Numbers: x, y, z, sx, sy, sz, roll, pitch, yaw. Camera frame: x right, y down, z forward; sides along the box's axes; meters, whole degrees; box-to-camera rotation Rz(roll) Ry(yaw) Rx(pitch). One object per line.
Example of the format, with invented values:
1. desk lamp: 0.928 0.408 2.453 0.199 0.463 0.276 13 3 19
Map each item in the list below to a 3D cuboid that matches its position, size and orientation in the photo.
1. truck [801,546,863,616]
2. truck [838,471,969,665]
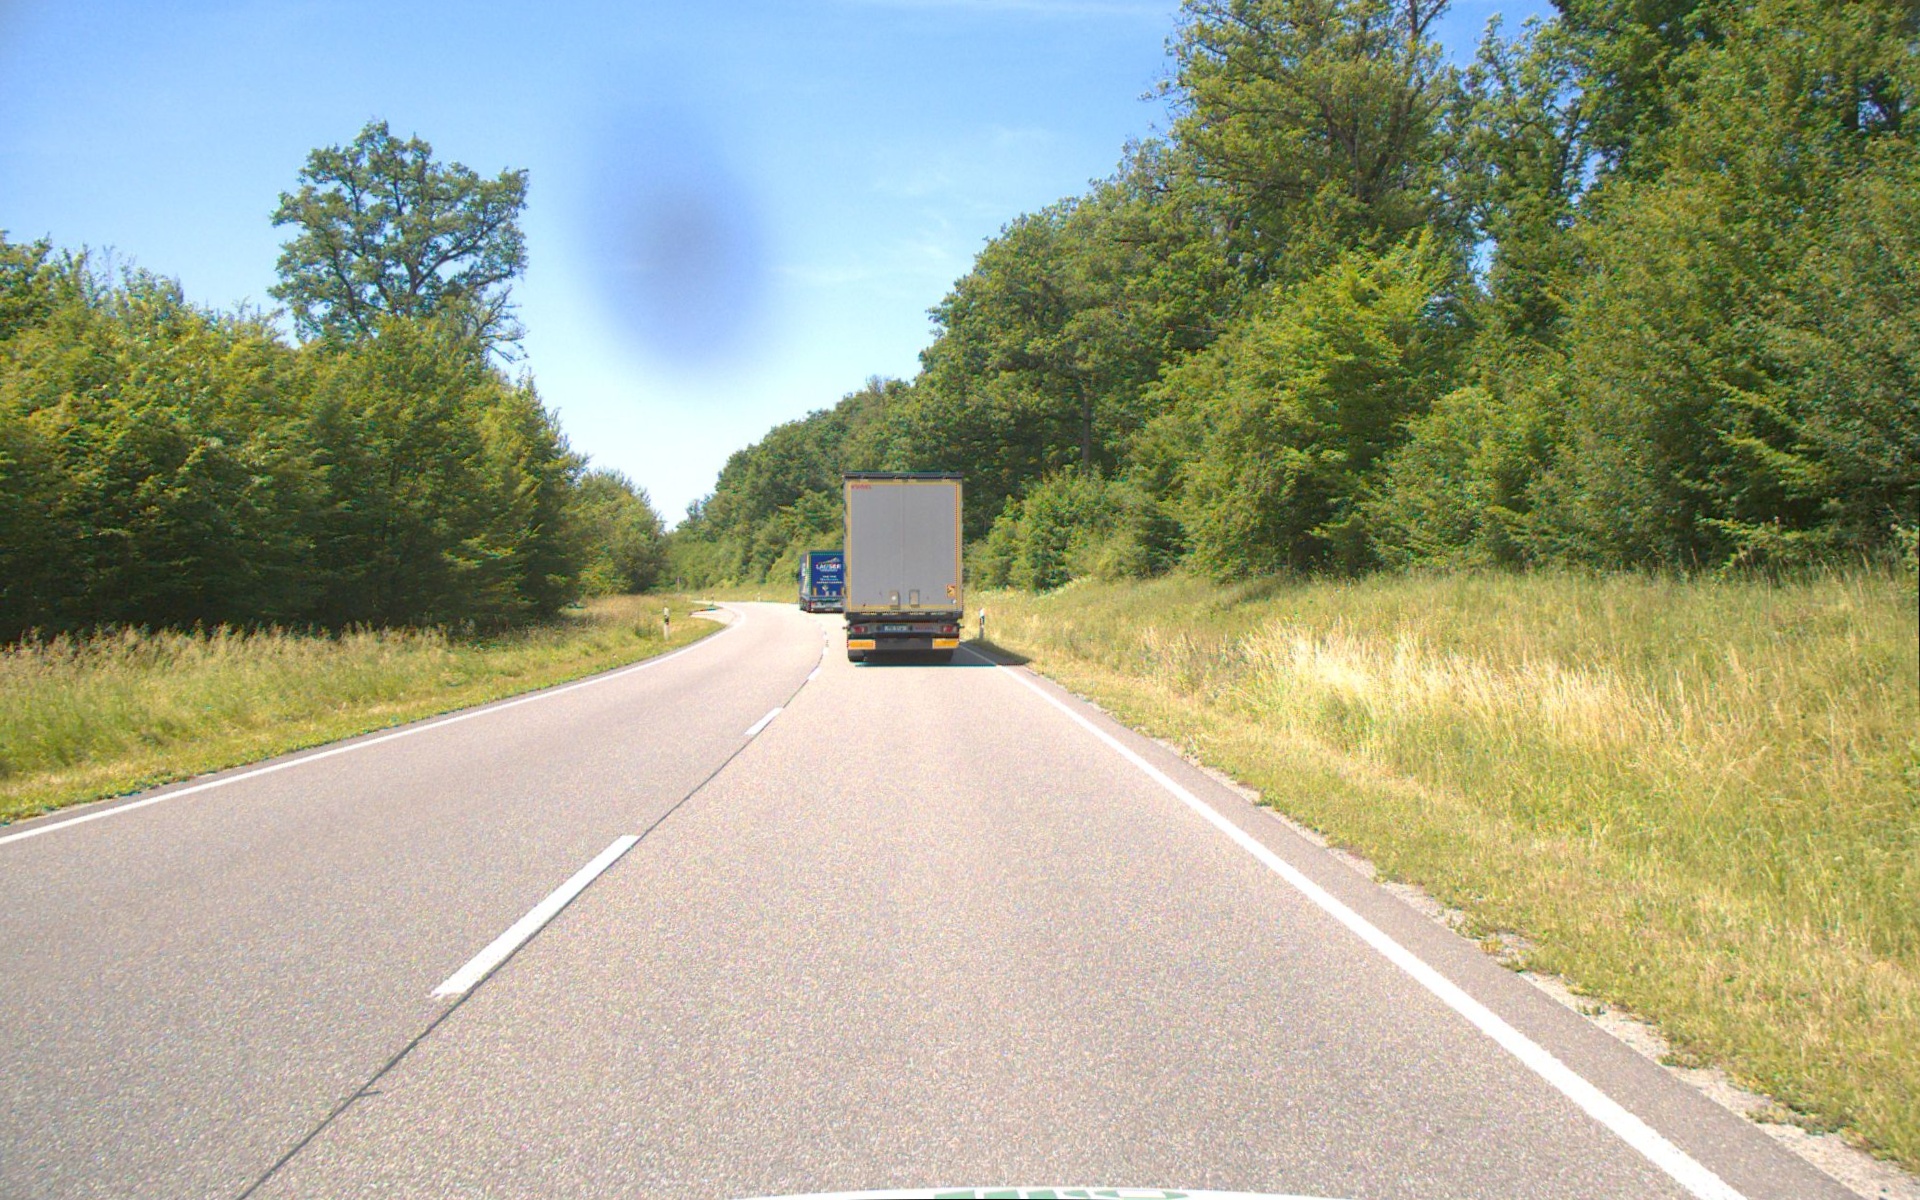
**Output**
1. truck: -8.927 -1.248 113.604 3.721 4.449 14.899 1 0 -6
2. truck: -1.446 -0.699 40.478 2.706 4.016 12.191 0 0 -3
